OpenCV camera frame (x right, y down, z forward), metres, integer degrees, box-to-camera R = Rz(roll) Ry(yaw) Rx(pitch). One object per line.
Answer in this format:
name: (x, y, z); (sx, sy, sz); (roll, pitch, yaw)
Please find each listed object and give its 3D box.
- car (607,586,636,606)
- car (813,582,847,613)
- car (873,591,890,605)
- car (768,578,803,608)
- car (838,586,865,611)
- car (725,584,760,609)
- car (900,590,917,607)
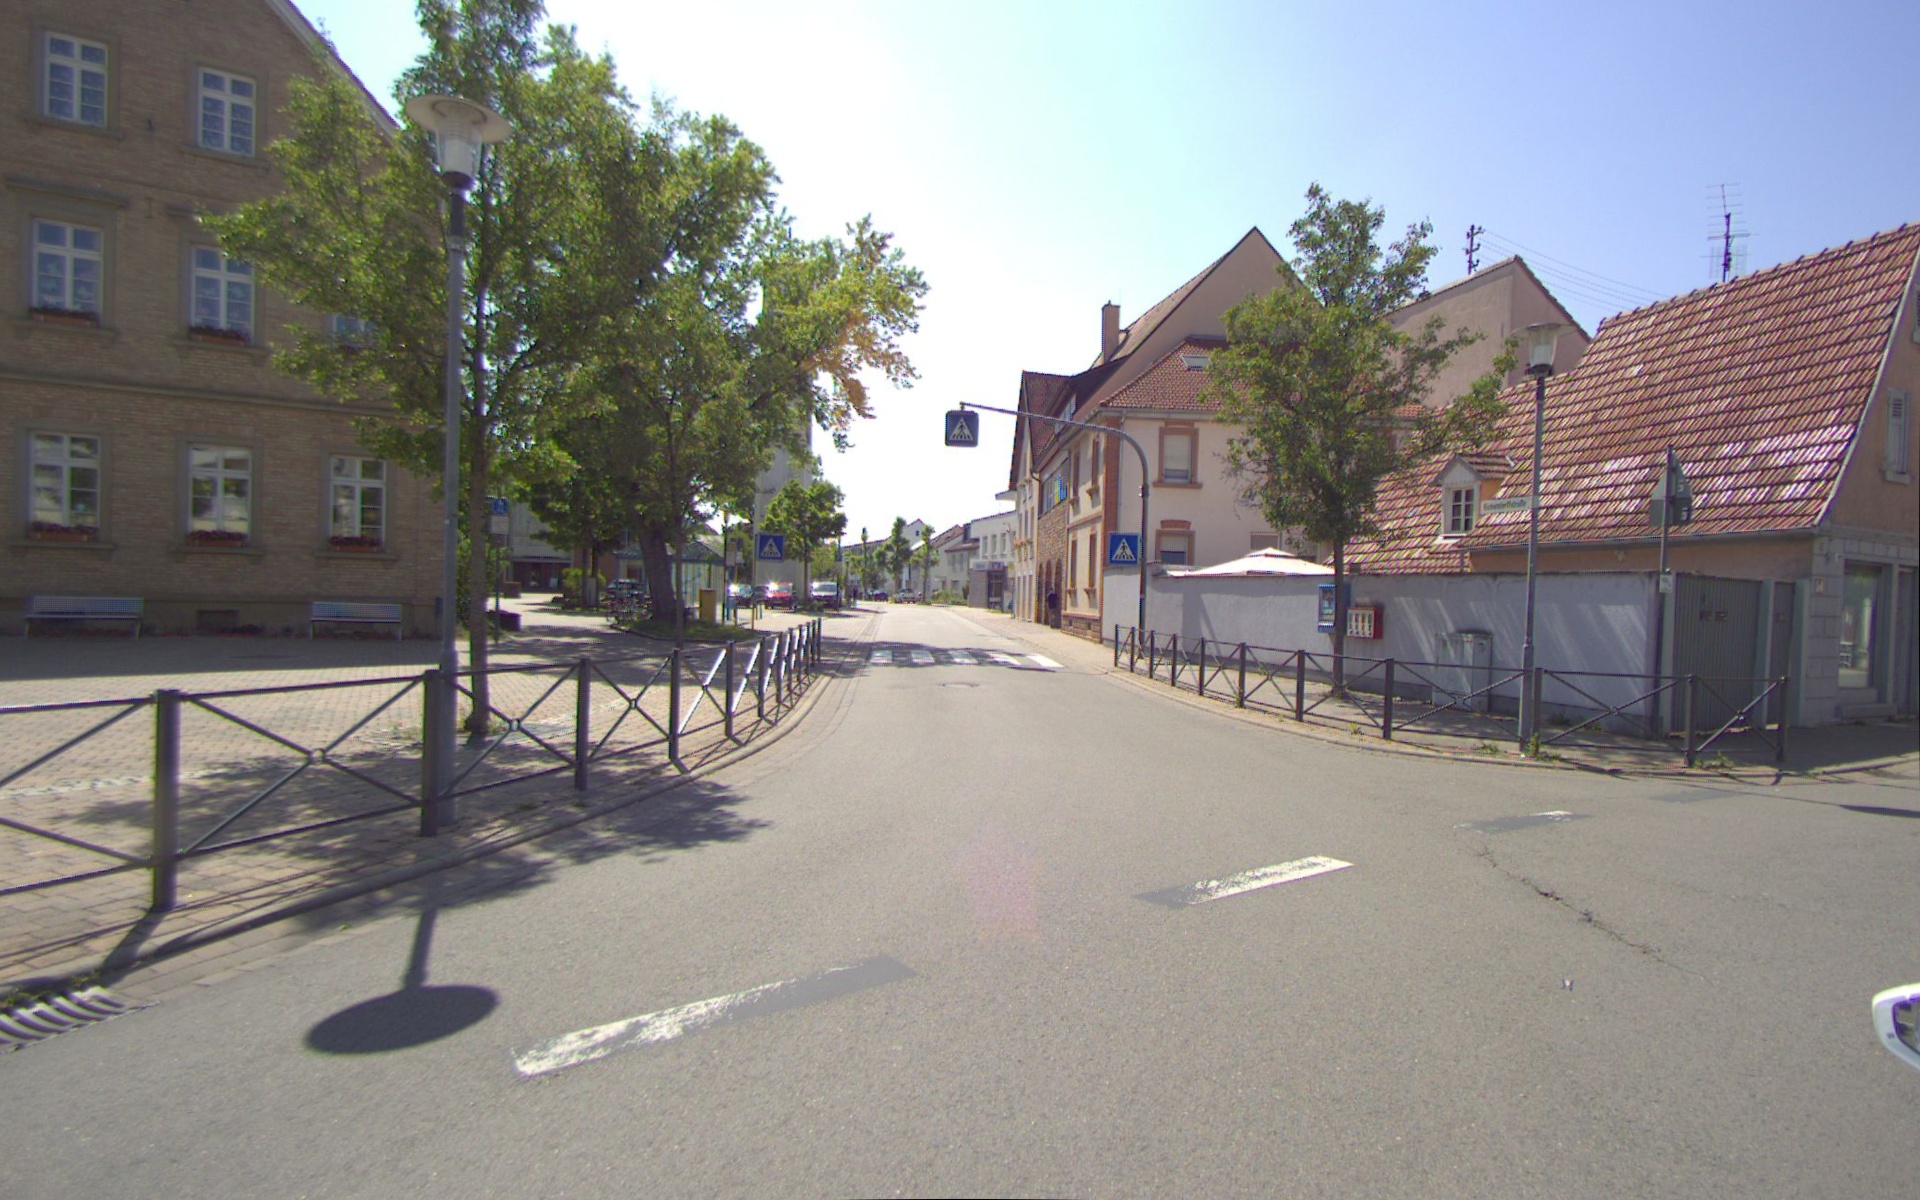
car: (-20.937, -0.221, 62.290); (1.561, 1.164, 3.067); (1, 0, -17)
car: (-8.254, -0.179, 63.989); (1.747, 1.818, 3.998); (2, 0, -3)
car: (-9.799, -0.223, 125.655); (1.749, 1.714, 3.994); (1, 0, -9)
car: (-11.079, -0.434, 63.944); (1.748, 1.818, 3.997); (1, 0, -4)
car: (-7.725, -0.092, 71.553); (1.749, 1.667, 3.994); (1, 0, -8)
car: (-13.656, -0.203, 63.145); (1.619, 1.487, 3.776); (1, 0, -4)
car: (-5.747, -0.150, 112.396); (1.748, 1.804, 3.997); (1, 0, -4)
